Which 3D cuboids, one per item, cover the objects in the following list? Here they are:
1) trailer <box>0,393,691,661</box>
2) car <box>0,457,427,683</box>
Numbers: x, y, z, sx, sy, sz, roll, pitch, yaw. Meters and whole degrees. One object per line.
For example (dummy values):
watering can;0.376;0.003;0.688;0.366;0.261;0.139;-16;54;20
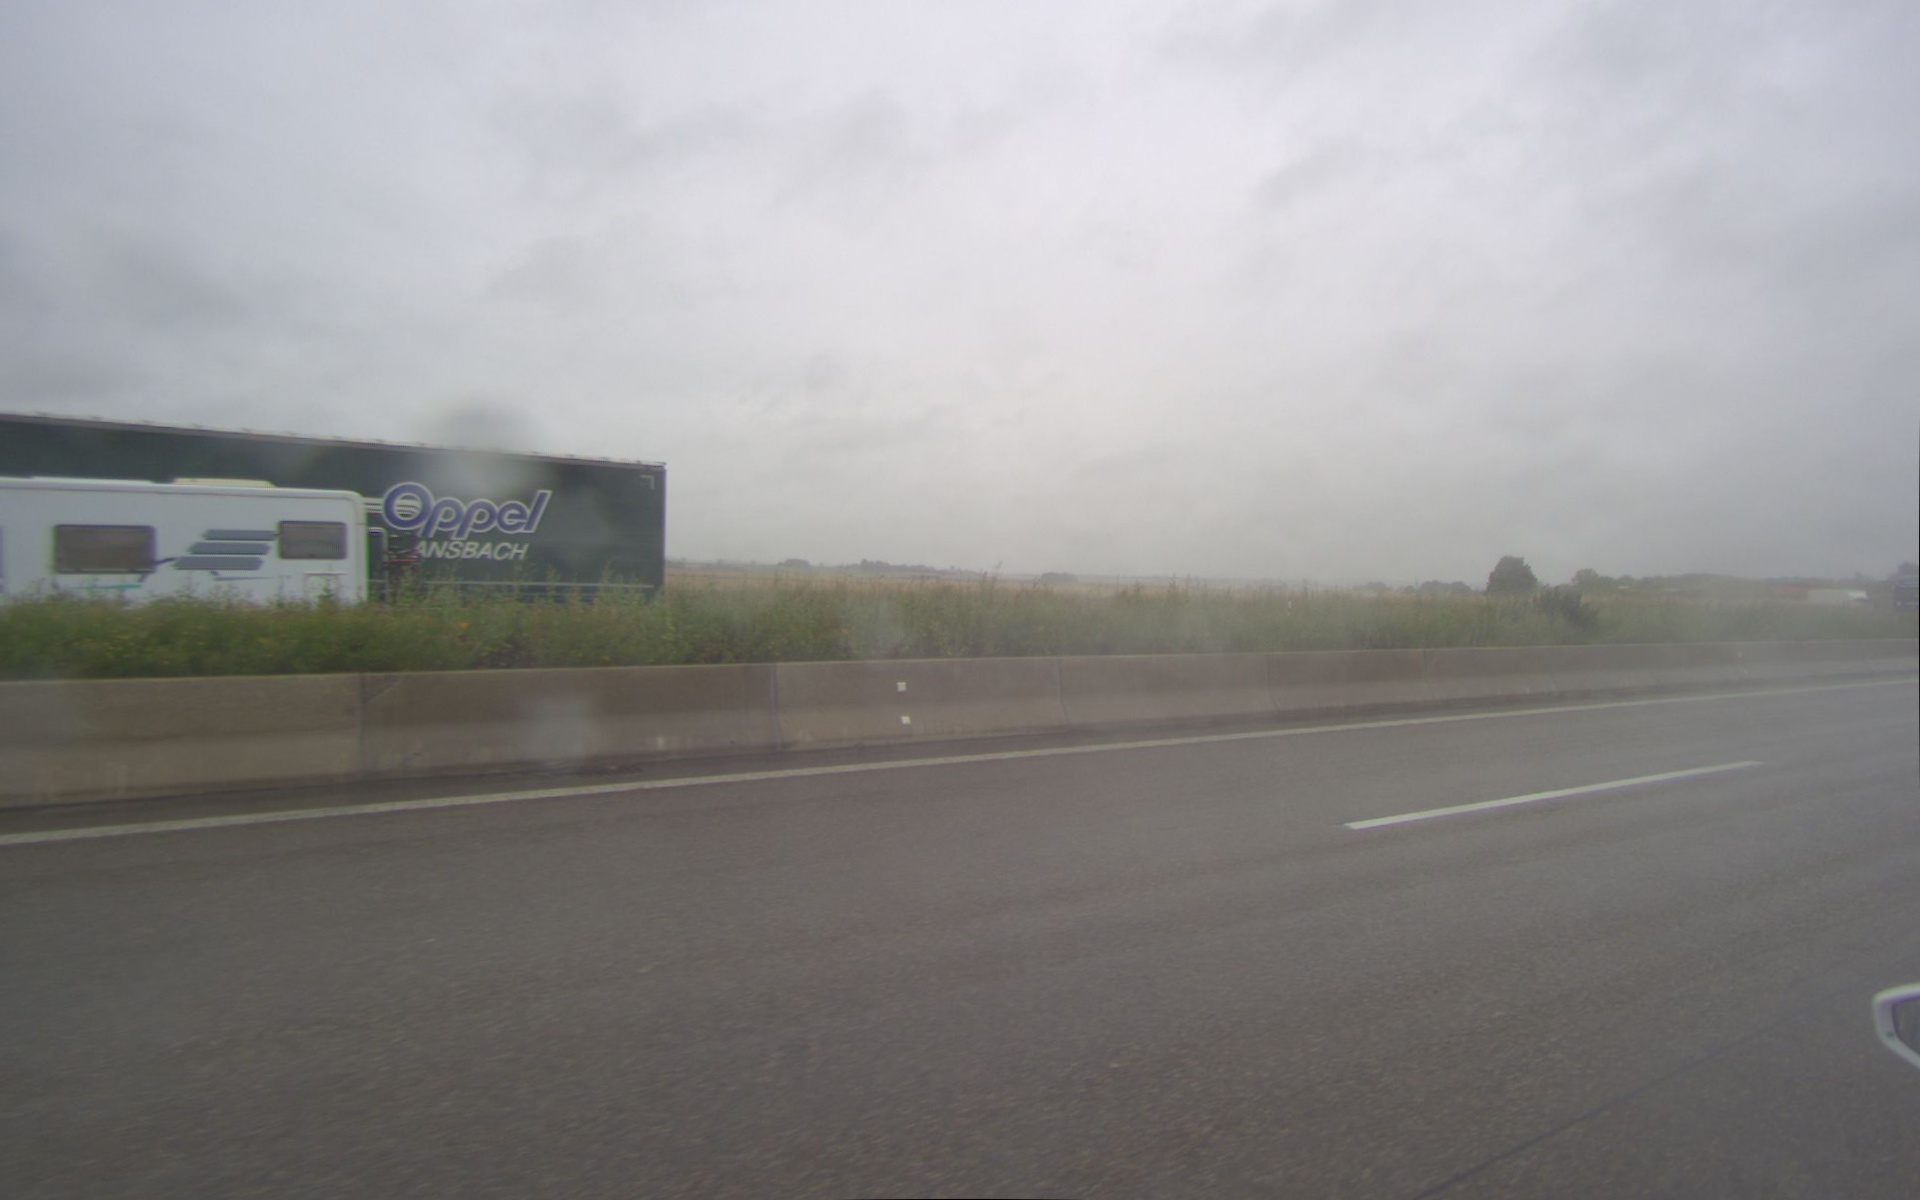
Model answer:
trailer;-12.130;-1.090;17.944;14.041;4.051;2.213;1;1;-31
car;-11.005;-0.366;14.040;6.137;2.742;2.483;1;1;-32
